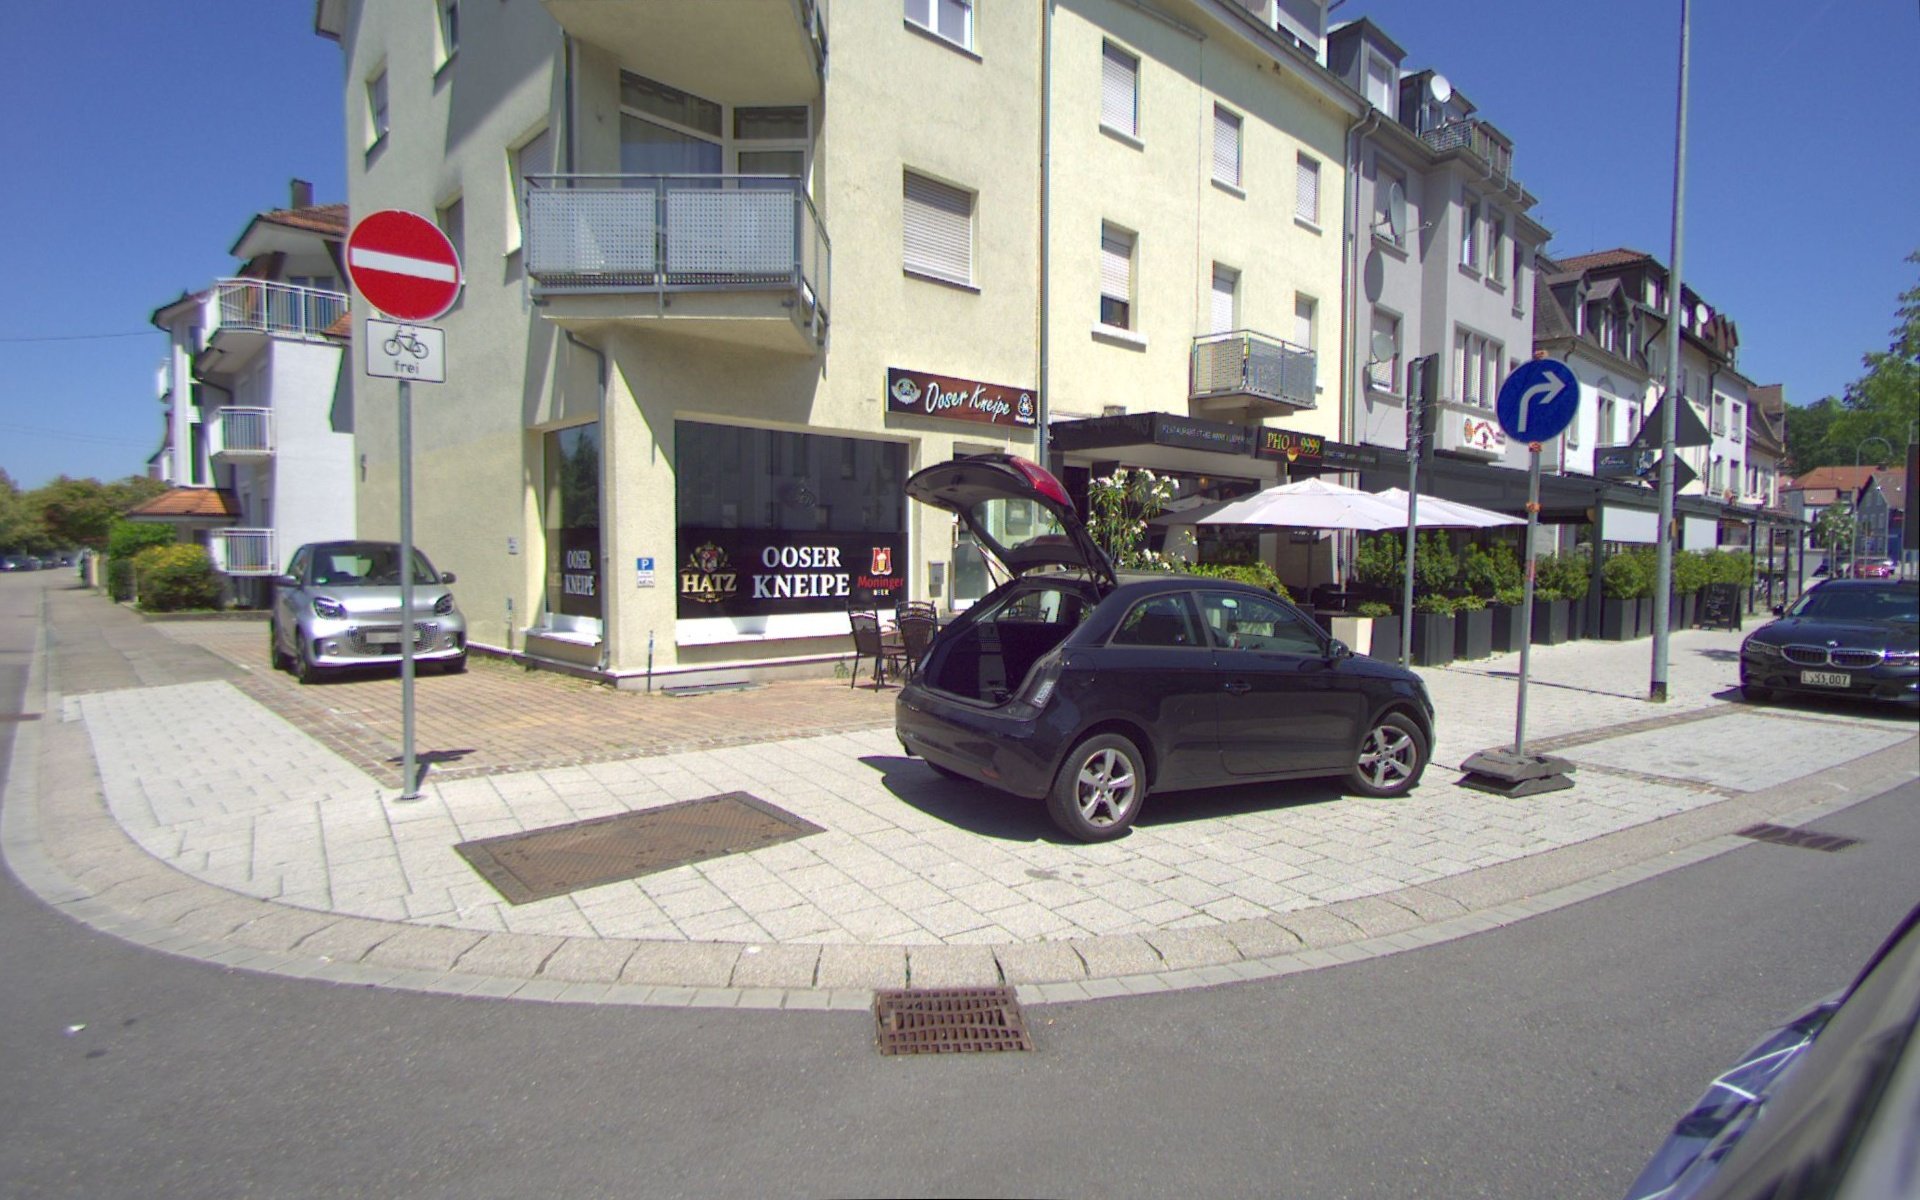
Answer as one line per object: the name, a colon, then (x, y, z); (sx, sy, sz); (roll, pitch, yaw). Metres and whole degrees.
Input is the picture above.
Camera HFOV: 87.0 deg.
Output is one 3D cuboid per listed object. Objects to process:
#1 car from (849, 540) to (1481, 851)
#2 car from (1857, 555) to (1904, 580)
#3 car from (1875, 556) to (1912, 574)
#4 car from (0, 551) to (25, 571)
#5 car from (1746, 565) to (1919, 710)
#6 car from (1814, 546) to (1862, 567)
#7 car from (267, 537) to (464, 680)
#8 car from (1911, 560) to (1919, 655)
car: (1.393, 0.423, 6.724); (3.784, 1.509, 1.881); (0, 3, -30)
car: (59.059, -2.079, 64.967); (1.673, 1.533, 3.346); (1, 2, 34)
car: (78.251, -2.949, 84.864); (1.661, 1.413, 3.801); (2, 2, 34)
car: (-97.627, -4.029, 104.103); (1.965, 2.038, 3.995); (-1, 3, -40)
car: (11.245, 0.325, 12.176); (4.525, 1.422, 1.729); (-2, 4, -38)
car: (65.872, -3.289, 75.977); (1.721, 1.490, 4.282); (4, 5, 29)
car: (-7.136, 0.039, 12.067); (1.505, 1.489, 2.731); (-2, 2, -42)
car: (17.280, 0.114, 16.551); (3.979, 1.503, 1.744); (-2, 6, -36)
